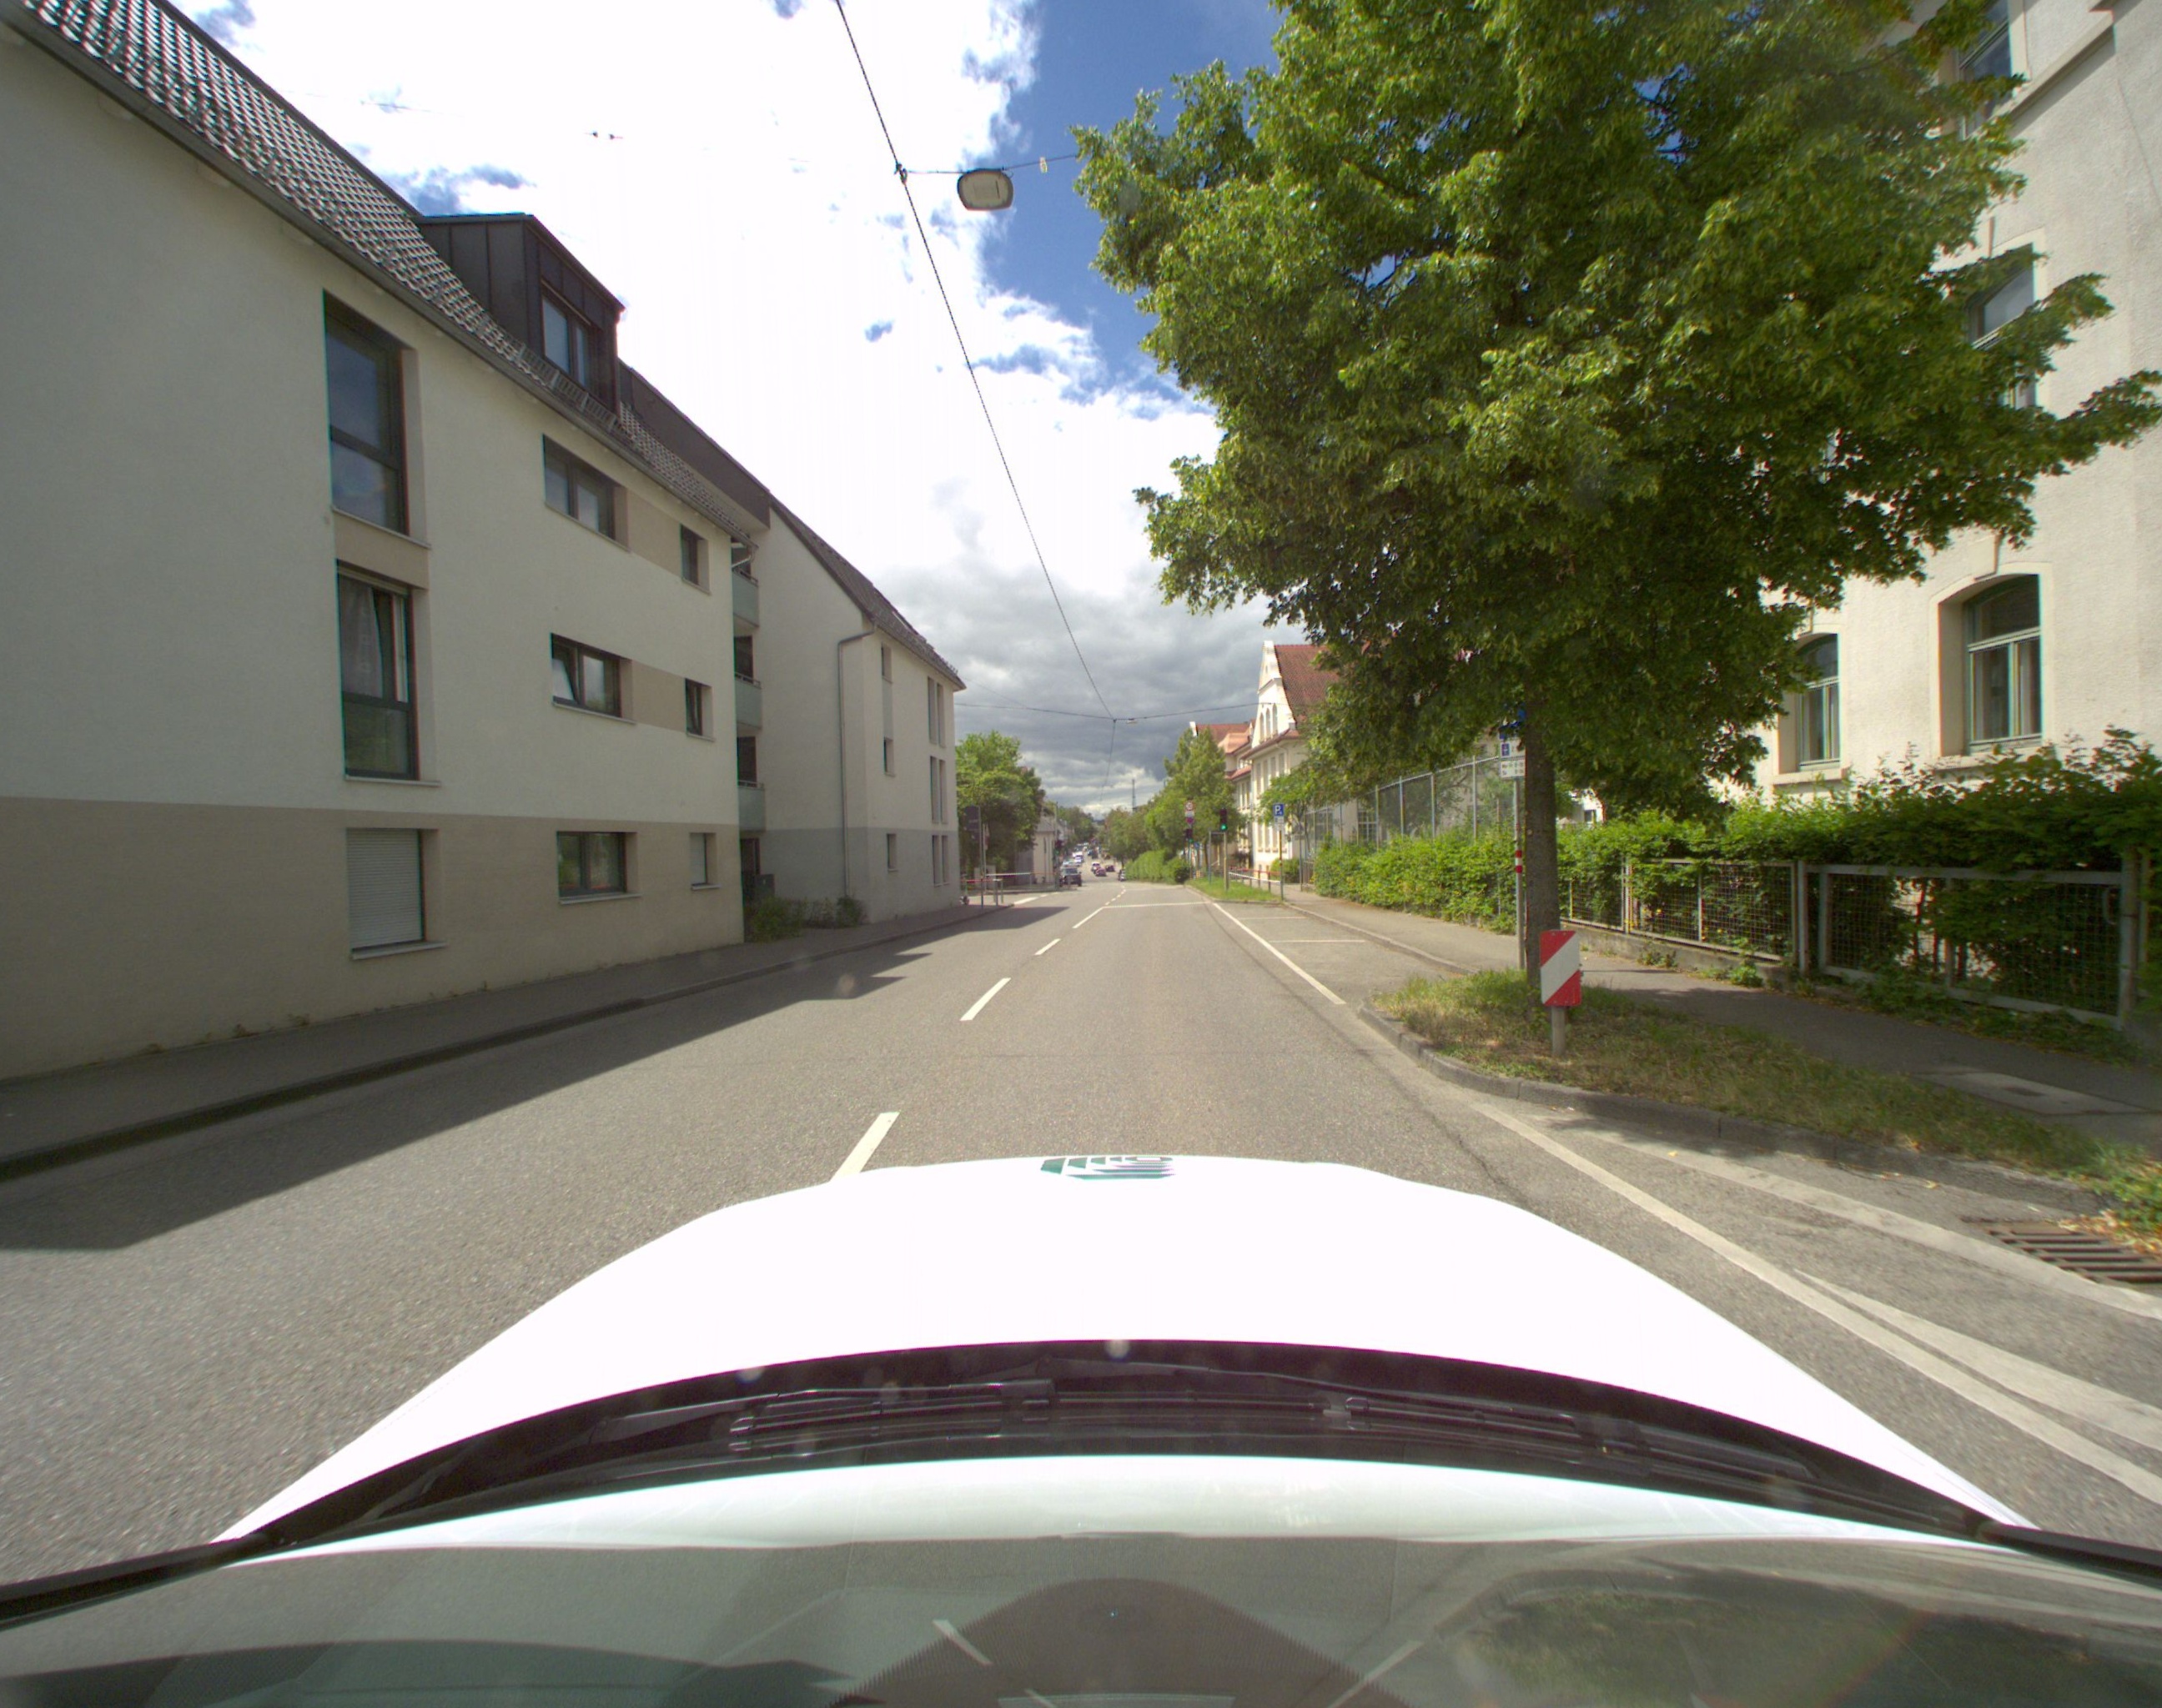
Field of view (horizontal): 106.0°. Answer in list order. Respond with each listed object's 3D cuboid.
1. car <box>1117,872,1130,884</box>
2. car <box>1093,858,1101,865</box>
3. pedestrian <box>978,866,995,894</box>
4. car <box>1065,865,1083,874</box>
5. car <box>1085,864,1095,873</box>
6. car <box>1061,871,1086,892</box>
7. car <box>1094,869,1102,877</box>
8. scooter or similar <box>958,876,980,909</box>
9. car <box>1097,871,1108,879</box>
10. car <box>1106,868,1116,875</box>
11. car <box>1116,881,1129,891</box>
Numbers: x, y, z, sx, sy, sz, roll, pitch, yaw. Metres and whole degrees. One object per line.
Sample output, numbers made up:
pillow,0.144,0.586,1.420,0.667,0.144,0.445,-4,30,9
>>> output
car,6.724,3.756,129.328,1.838,1.768,4.514,-1,-1,0
car,4.951,2.320,254.309,2.429,2.318,5.325,-1,-1,0
pedestrian,-5.412,1.481,46.607,0.775,1.597,0.665,0,-1,-29
car,-1.713,3.658,191.208,3.985,2.014,1.994,0,-1,-9
car,1.827,3.035,172.533,1.833,1.862,3.844,-1,-1,-4
car,-0.578,2.233,67.091,1.788,1.610,4.647,-2,-1,2
car,3.337,3.814,164.185,1.271,1.527,3.046,-2,2,-4
scooter or similar,-4.528,1.538,32.844,0.492,1.261,1.296,-2,-2,-25
car,4.030,3.904,154.291,1.739,1.417,3.997,1,-1,-2
car,6.211,3.658,170.161,1.748,1.370,3.997,-2,2,-2
car,6.322,4.819,123.534,1.780,1.509,4.363,-1,-1,0
